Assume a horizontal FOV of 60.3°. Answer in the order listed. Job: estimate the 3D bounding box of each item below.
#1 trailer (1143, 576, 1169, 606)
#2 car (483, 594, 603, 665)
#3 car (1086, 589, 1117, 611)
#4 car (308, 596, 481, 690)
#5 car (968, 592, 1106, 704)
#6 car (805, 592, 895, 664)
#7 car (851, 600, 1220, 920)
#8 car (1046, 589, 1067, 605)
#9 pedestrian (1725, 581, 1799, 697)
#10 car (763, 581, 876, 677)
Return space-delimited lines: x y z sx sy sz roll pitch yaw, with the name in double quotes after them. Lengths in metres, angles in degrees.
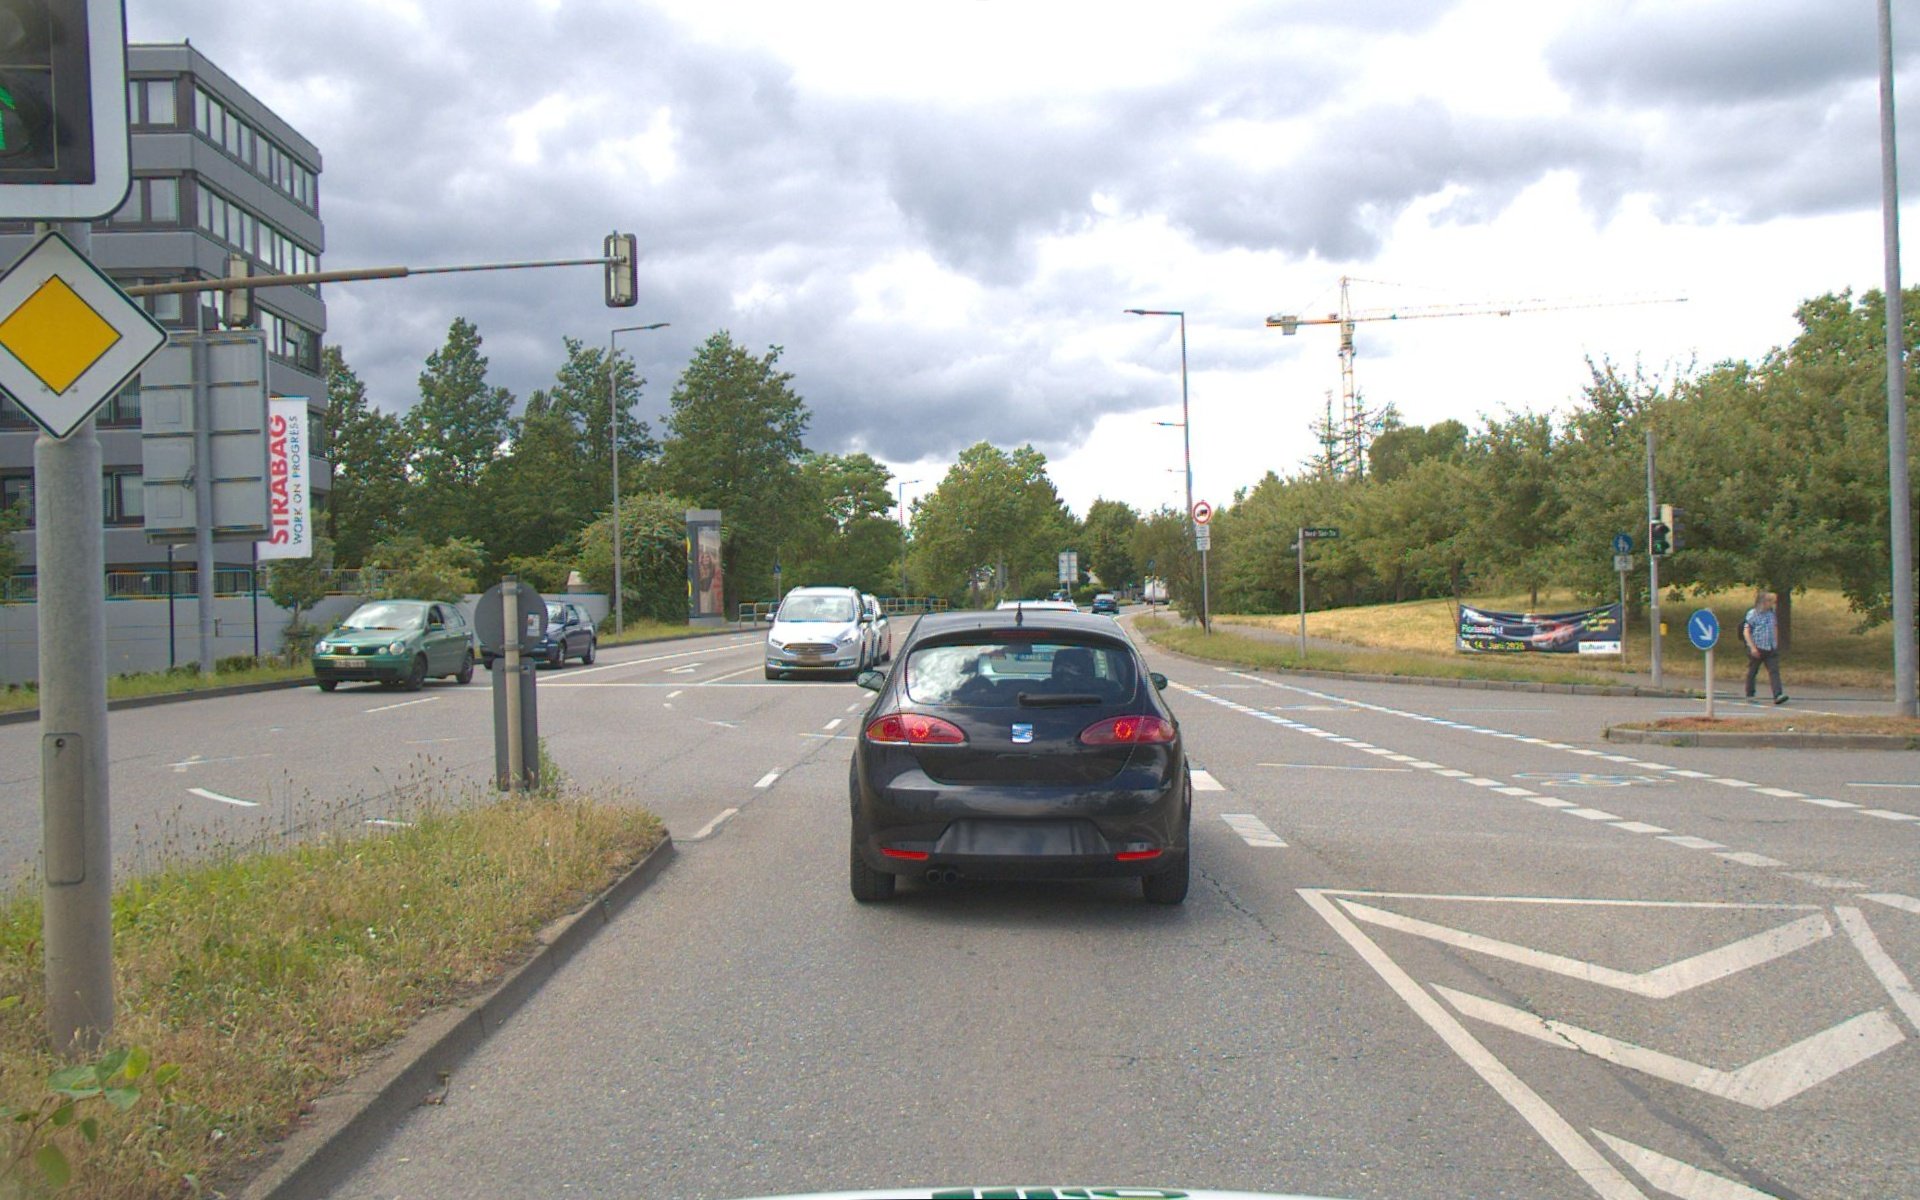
21.322 -0.948 179.792 2.438 3.127 5.591 0 -1 11 "trailer"
-9.028 0.601 36.076 1.521 1.444 3.897 0 0 2 "car"
10.348 -0.030 120.897 1.951 1.593 4.475 -1 0 9 "car"
-9.394 0.667 27.759 1.572 1.457 3.753 0 0 1 "car"
1.050 0.666 24.199 1.797 1.493 3.750 1 0 0 "car"
-2.485 0.599 38.189 1.626 1.545 4.086 0 0 2 "car"
0.303 0.728 9.252 1.676 1.442 3.458 0 0 -2 "car"
9.775 -0.273 166.908 1.678 1.609 3.745 0 -1 10 "car"
12.896 0.616 26.617 0.703 1.824 1.044 0 -1 2 "pedestrian"
-2.653 0.501 32.220 1.783 1.716 4.645 0 0 0 "car"
